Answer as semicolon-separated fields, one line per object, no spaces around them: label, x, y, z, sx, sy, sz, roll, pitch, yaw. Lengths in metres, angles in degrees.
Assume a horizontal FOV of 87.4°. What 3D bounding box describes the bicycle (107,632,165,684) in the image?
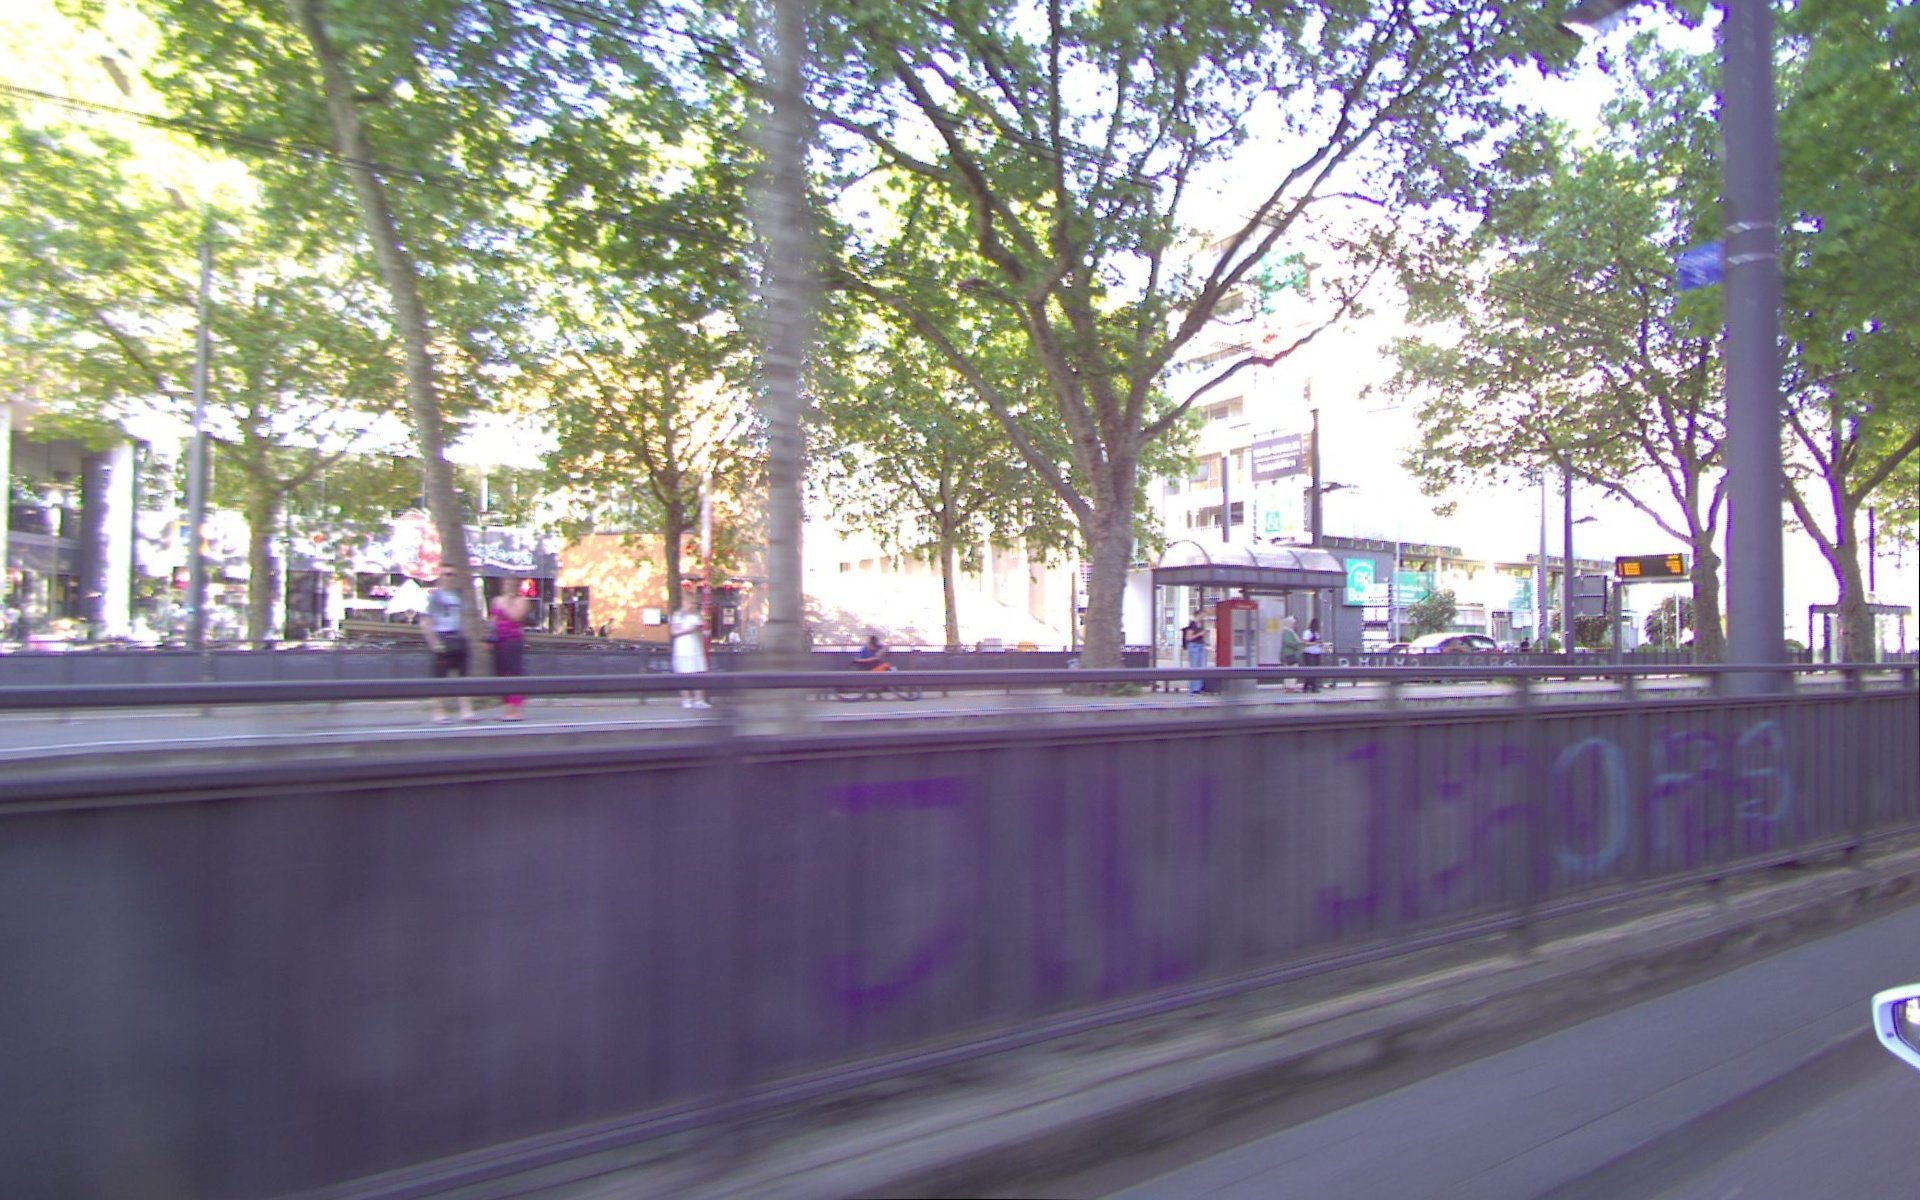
bicycle;-23.170;1.591;28.215;1.028;1.371;3.320;3;-3;-43

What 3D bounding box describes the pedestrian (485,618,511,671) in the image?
pedestrian;-14.986;1.441;32.582;0.697;1.674;0.693;2;-2;-30

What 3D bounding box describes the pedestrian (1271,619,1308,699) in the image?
pedestrian;6.744;1.195;20.552;0.487;1.594;0.499;0;-1;-26

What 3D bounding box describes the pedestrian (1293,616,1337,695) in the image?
pedestrian;7.339;1.143;20.767;0.629;1.594;0.563;0;-1;-18

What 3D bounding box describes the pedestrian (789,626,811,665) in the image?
pedestrian;-6.868;1.947;43.137;0.697;1.674;0.693;2;-2;-30

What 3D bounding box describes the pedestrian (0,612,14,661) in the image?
pedestrian;-35.653;1.345;37.124;0.694;1.791;0.696;1;-2;-17

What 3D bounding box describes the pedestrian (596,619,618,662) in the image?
pedestrian;-13.959;1.602;39.730;0.697;1.674;0.693;2;-2;-30

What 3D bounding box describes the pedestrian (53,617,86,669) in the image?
pedestrian;-29.079;1.413;32.804;0.696;1.674;0.695;-1;-2;42

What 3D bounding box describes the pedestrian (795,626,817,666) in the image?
pedestrian;-6.483;1.922;42.368;0.697;1.674;0.693;2;-2;-30

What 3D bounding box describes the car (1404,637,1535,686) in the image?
car;15.776;1.903;31.070;3.951;1.425;1.659;3;-3;-28

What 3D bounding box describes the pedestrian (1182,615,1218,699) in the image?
pedestrian;4.632;1.087;19.416;0.658;1.594;0.486;-1;-1;13

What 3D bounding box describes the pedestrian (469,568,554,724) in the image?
pedestrian;-5.486;0.561;12.314;0.730;1.853;0.593;1;-2;1

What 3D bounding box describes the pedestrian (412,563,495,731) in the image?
pedestrian;-5.820;0.532;11.534;0.737;1.853;0.630;2;-2;-35

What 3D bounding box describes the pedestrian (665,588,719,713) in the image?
pedestrian;-4.008;0.748;15.043;0.732;1.824;0.591;1;-2;-15

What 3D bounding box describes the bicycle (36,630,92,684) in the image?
bicycle;-24.268;1.501;27.182;1.028;1.371;3.320;3;-3;-43

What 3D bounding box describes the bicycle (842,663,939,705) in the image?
bicycle;-1.190;1.442;17.392;1.676;0.698;0.391;2;-2;-31

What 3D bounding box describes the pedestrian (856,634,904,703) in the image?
pedestrian;-1.401;1.186;17.545;0.732;1.179;0.591;1;-2;-15
